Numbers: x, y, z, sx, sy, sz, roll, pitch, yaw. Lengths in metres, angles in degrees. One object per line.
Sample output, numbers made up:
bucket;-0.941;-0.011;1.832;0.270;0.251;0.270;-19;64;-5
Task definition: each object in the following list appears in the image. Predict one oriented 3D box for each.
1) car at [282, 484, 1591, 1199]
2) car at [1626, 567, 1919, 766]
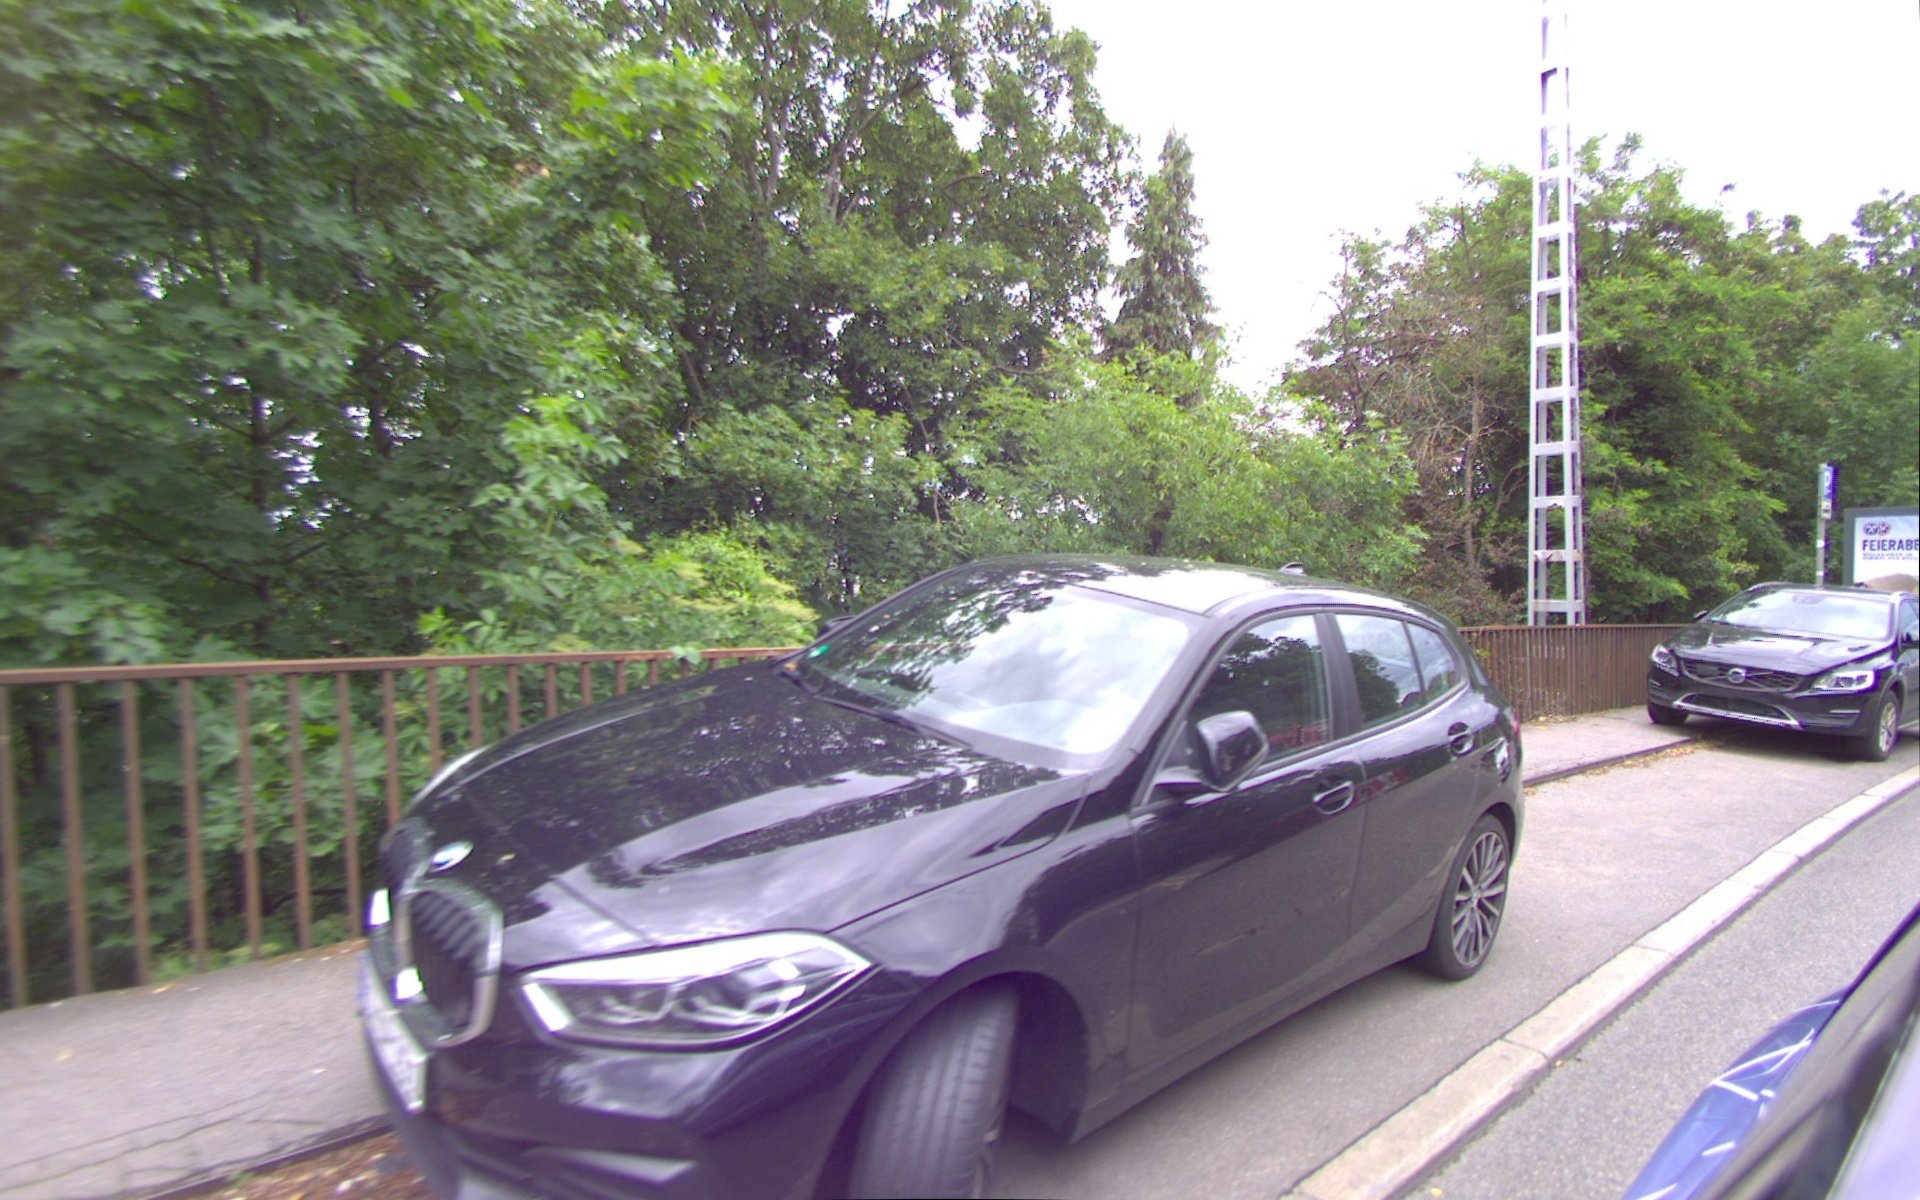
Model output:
car;0.333;0.518;3.429;4.159;1.452;1.858;0;6;-42
car;8.740;0.528;10.268;4.152;1.552;1.861;0;4;-35
